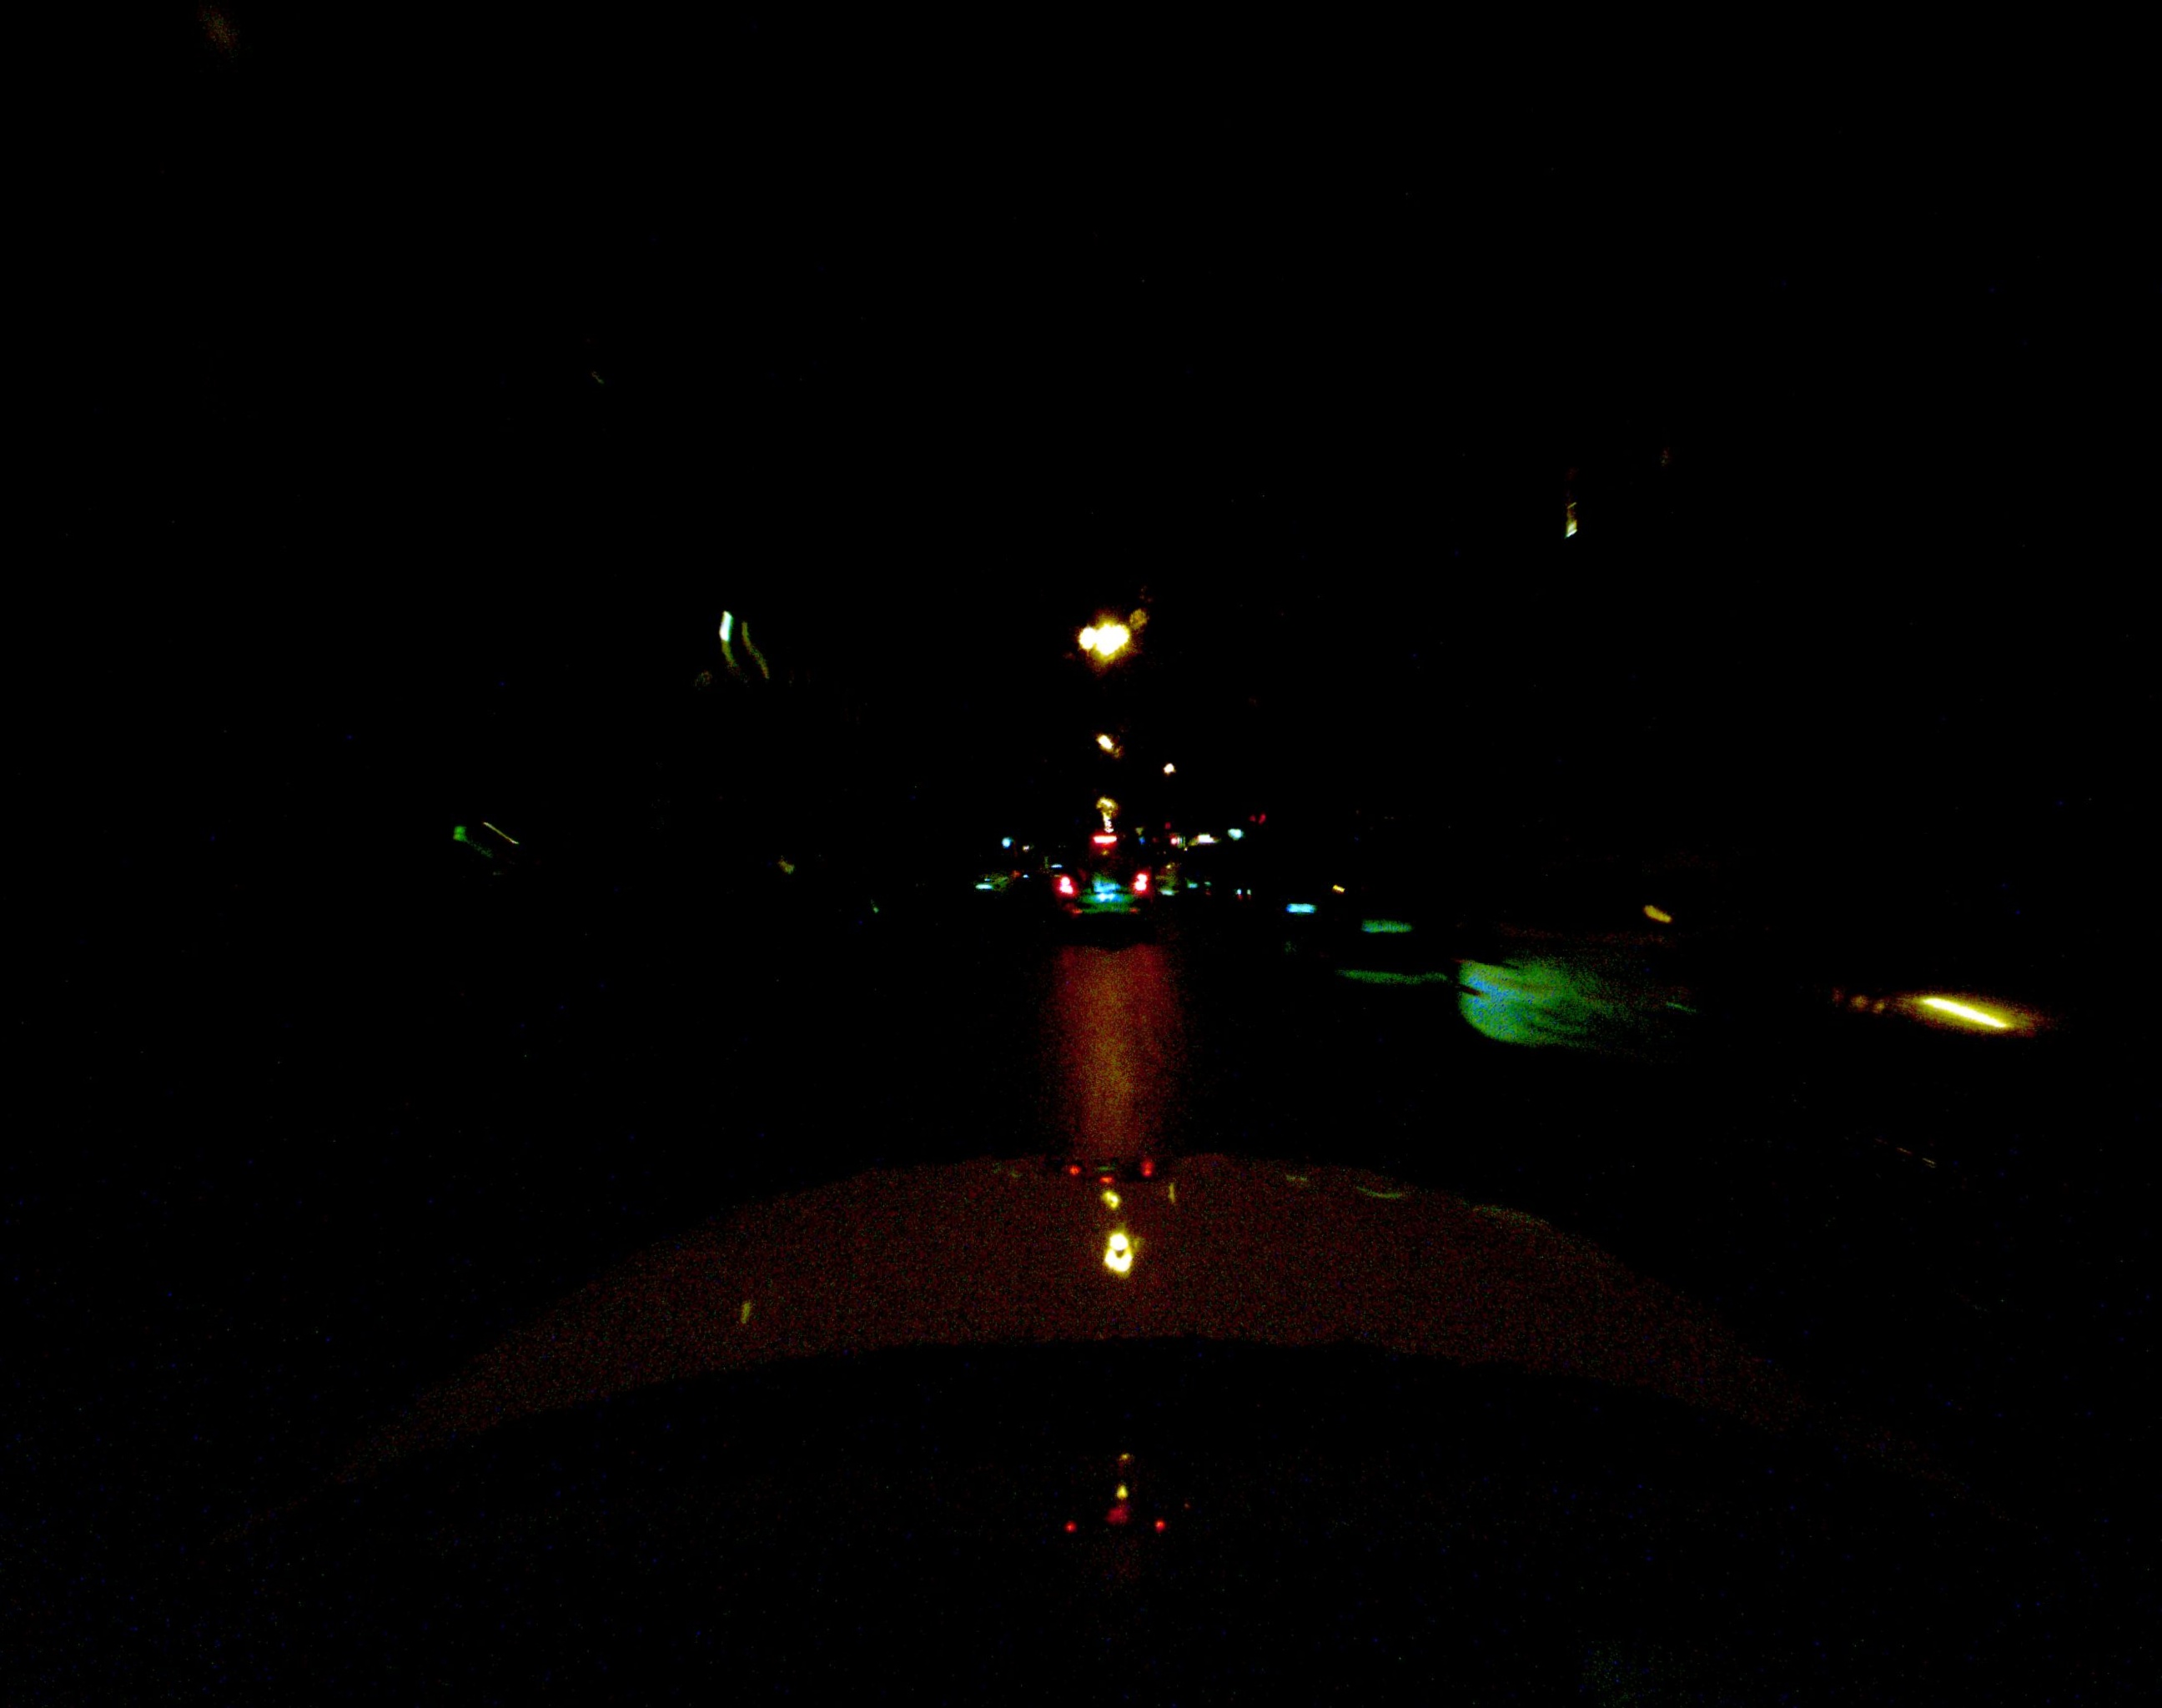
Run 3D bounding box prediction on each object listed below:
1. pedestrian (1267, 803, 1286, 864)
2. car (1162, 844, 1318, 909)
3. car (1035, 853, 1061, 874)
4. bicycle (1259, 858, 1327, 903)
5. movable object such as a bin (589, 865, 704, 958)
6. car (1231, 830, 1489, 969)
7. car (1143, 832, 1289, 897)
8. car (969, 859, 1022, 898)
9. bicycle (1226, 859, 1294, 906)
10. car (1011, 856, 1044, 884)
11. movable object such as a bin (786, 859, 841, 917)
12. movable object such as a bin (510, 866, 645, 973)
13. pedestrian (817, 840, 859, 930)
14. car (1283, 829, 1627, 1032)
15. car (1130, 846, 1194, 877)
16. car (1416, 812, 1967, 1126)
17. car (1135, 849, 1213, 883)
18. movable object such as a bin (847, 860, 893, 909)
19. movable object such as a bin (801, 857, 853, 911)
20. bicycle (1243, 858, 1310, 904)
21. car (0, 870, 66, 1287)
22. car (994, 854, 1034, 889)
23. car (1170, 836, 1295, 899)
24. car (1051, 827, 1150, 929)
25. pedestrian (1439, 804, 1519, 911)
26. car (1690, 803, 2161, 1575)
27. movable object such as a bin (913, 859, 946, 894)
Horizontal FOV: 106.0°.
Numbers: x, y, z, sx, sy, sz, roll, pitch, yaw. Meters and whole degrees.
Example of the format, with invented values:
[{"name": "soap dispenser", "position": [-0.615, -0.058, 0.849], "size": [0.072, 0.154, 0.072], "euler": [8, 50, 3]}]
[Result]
[{"name": "pedestrian", "position": [11.503, -1.175, 47.872], "size": [0.888, 3.528, 0.791], "euler": [-1, 0, 2]}, {"name": "car", "position": [4.482, 0.600, 22.918], "size": [4.007, 1.492, 1.720], "euler": [-4, 0, -25]}, {"name": "car", "position": [-2.737, 0.784, 68.657], "size": [1.876, 1.685, 4.002], "euler": [-1, 0, 2]}, {"name": "bicycle", "position": [5.375, 0.672, 20.775], "size": [0.521, 1.076, 1.810], "euler": [-3, 0, -29]}, {"name": "movable object such as a bin", "position": [-6.998, 0.891, 13.201], "size": [1.136, 1.420, 1.250], "euler": [0, 0, 4]}, {"name": "car", "position": [4.124, 0.562, 11.866], "size": [3.668, 1.580, 1.576], "euler": [-4, 1, -34]}, {"name": "car", "position": [4.760, 0.323, 28.667], "size": [4.813, 2.049, 2.047], "euler": [-2, 0, -29]}, {"name": "car", "position": [-3.502, 0.962, 33.908], "size": [1.580, 1.482, 3.796], "euler": [-1, 0, 3]}, {"name": "bicycle", "position": [4.408, 0.705, 20.218], "size": [0.521, 1.076, 1.810], "euler": [-3, 0, -29]}, {"name": "car", "position": [-3.212, 0.924, 49.296], "size": [1.808, 1.557, 4.074], "euler": [-1, 0, -2]}, {"name": "movable object such as a bin", "position": [-6.801, 0.837, 20.746], "size": [0.970, 1.420, 1.134], "euler": [0, 0, 4]}, {"name": "movable object such as a bin", "position": [-7.047, 0.881, 11.472], "size": [1.136, 1.420, 1.155], "euler": [0, 0, 4]}, {"name": "pedestrian", "position": [-5.033, 0.637, 16.911], "size": [0.589, 1.820, 0.795], "euler": [1, 0, 2]}, {"name": "car", "position": [3.845, 0.582, 8.145], "size": [3.671, 1.580, 1.574], "euler": [-2, 0, -38]}, {"name": "car", "position": [4.867, 0.428, 48.973], "size": [3.581, 1.590, 1.588], "euler": [-4, 0, -35]}, {"name": "car", "position": [4.274, 0.545, 5.648], "size": [3.661, 1.580, 1.579], "euler": [-2, 0, -27]}, {"name": "car", "position": [4.684, 0.590, 40.933], "size": [3.580, 1.453, 1.655], "euler": [-4, 0, -34]}, {"name": "movable object such as a bin", "position": [-6.247, 0.884, 24.162], "size": [0.970, 1.398, 1.134], "euler": [0, 0, 4]}, {"name": "movable object such as a bin", "position": [-6.859, 0.793, 22.027], "size": [0.970, 1.420, 1.134], "euler": [0, 0, 4]}, {"name": "bicycle", "position": [4.892, 0.672, 20.501], "size": [0.521, 1.076, 1.810], "euler": [-3, 0, -29]}, {"name": "car", "position": [-4.694, 0.810, 0.886], "size": [1.680, 1.455, 4.317], "euler": [-1, 0, 2]}, {"name": "car", "position": [-3.183, 0.789, 39.290], "size": [1.651, 1.557, 4.074], "euler": [-1, 0, -2]}, {"name": "car", "position": [4.835, 0.412, 25.974], "size": [3.574, 1.711, 1.631], "euler": [-4, 0, -27]}, {"name": "car", "position": [0.473, 0.517, 18.713], "size": [1.986, 2.050, 4.002], "euler": [-1, -1, 2]}, {"name": "pedestrian", "position": [7.324, 0.060, 15.021], "size": [0.866, 1.856, 0.993], "euler": [-4, 0, -1]}, {"name": "car", "position": [3.627, 0.569, 2.518], "size": [3.698, 1.460, 1.587], "euler": [-3, 0, -34]}, {"name": "movable object such as a bin", "position": [-6.180, 0.909, 33.341], "size": [1.043, 1.398, 1.159], "euler": [0, 0, 4]}]
